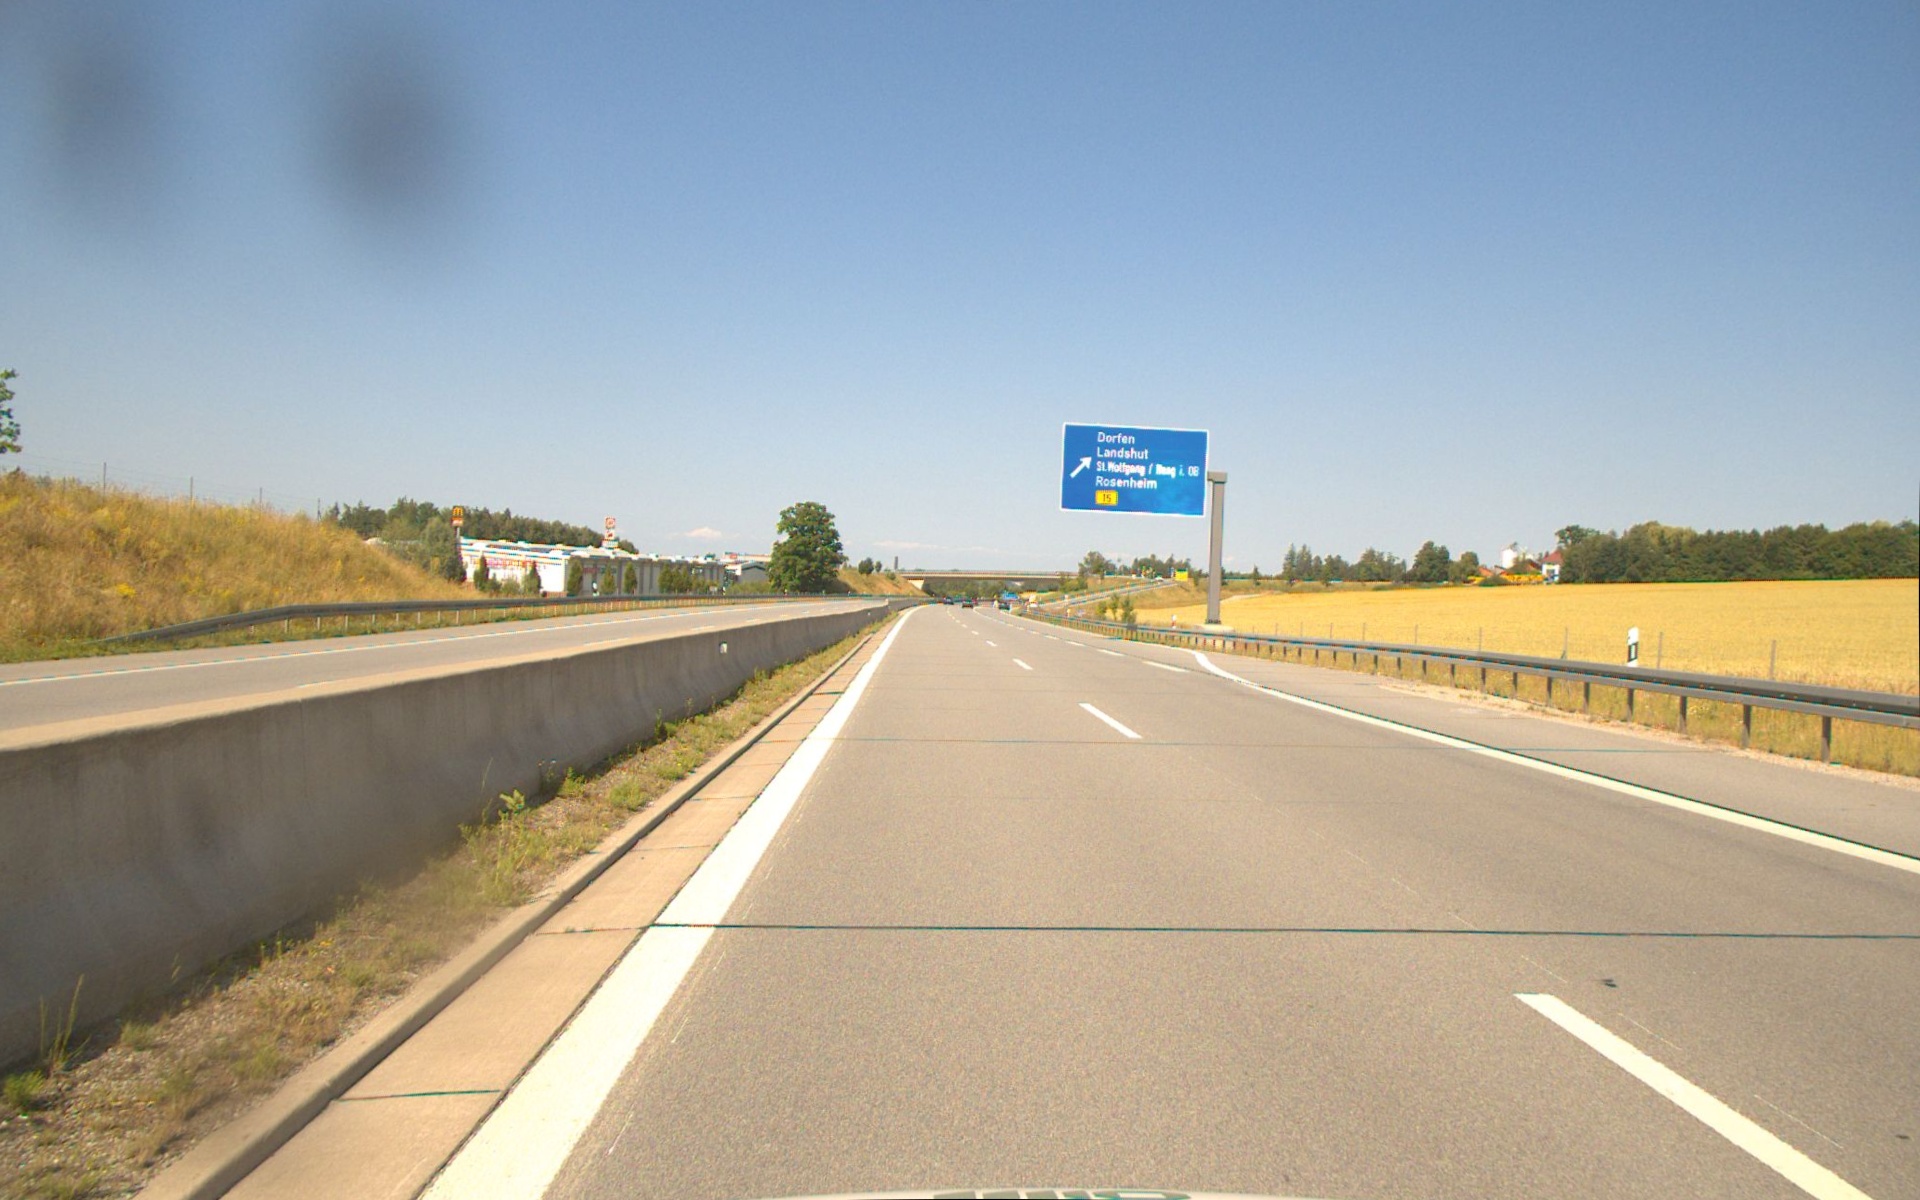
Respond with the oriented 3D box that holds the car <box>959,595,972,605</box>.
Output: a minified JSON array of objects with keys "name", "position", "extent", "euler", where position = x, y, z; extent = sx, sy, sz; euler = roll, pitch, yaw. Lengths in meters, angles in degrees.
[{"name":"car","position":[0.860,-0.042,260.079],"extent":[1.952,1.445,4.001],"euler":[2,0,2]}]
